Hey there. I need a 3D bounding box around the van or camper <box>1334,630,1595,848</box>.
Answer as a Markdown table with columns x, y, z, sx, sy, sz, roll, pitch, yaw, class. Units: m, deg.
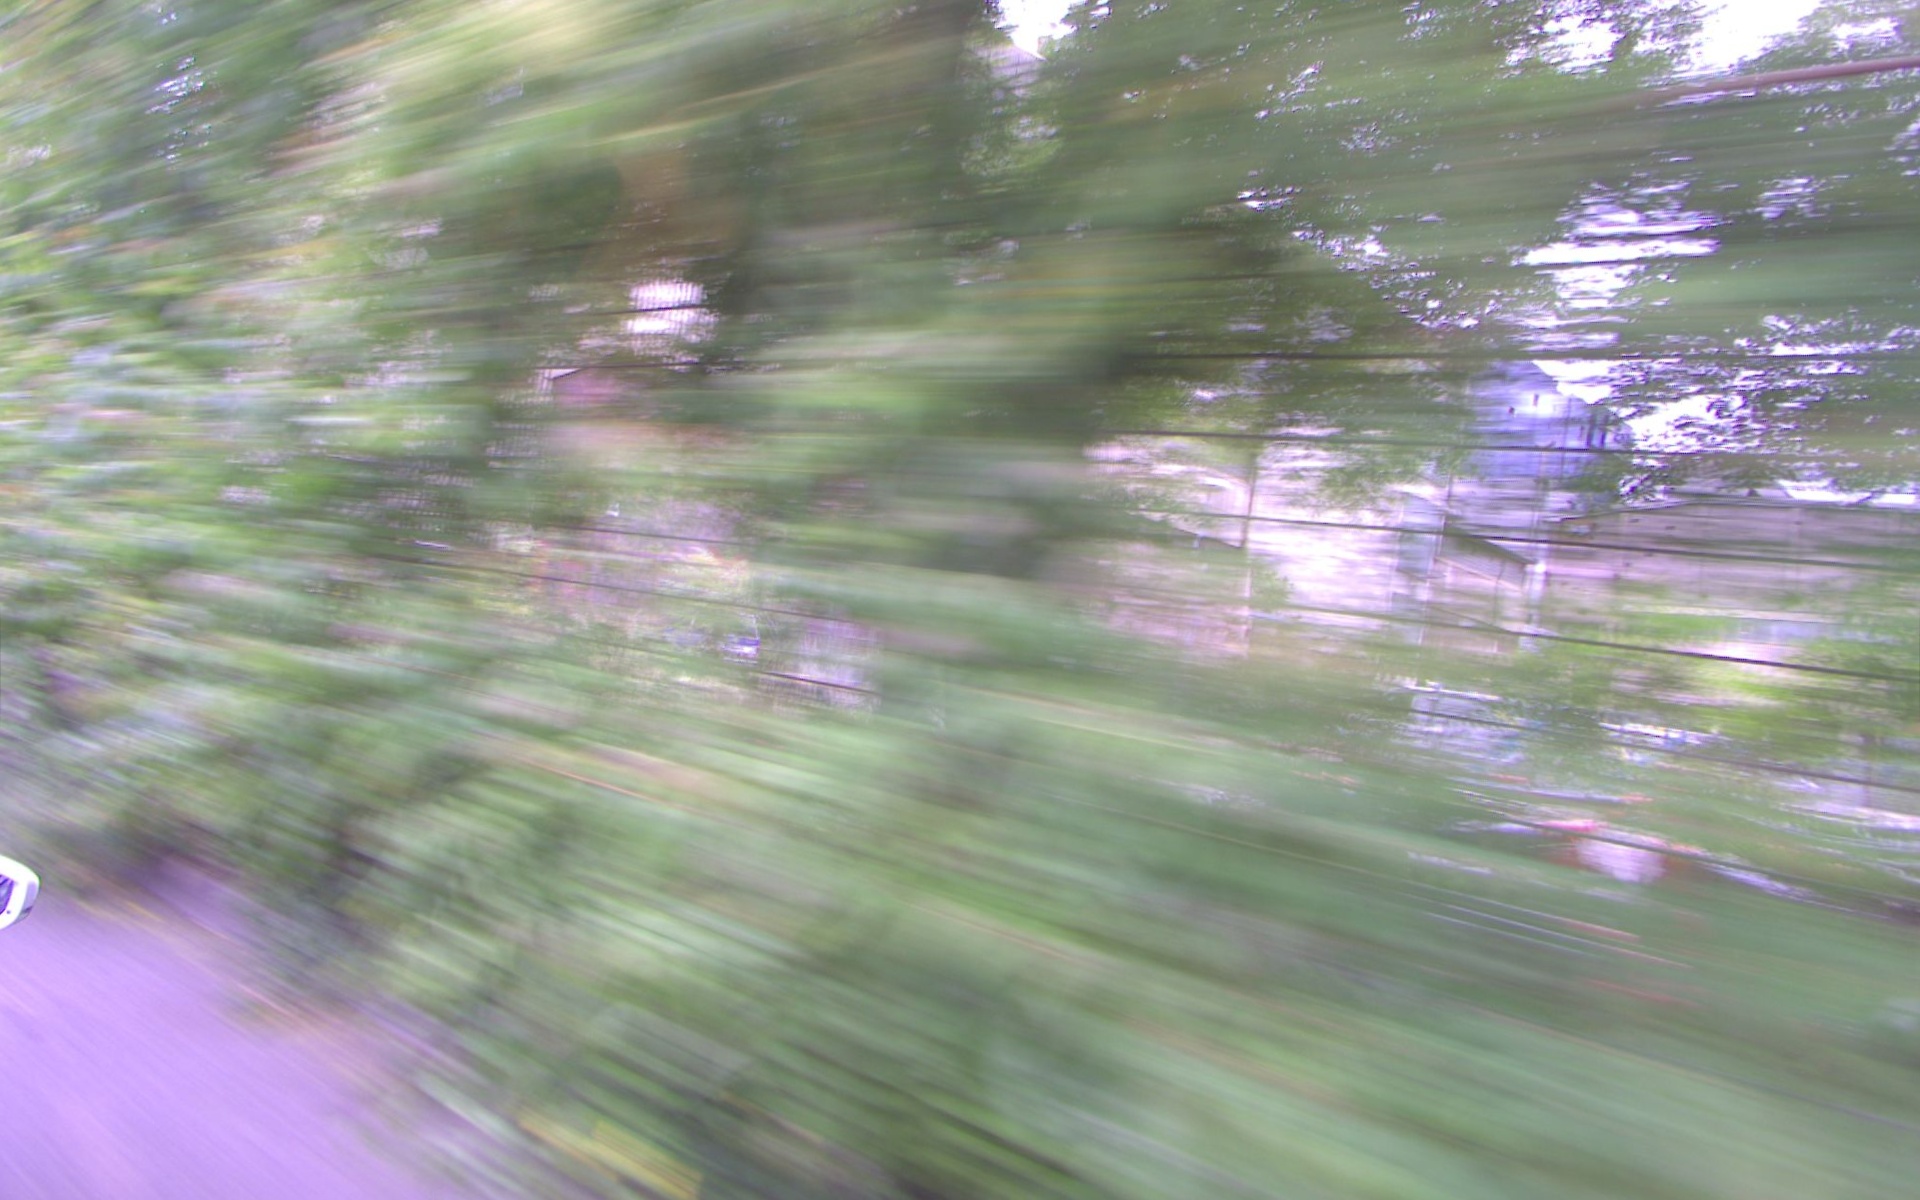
| x | y | z | sx | sy | sz | roll | pitch | yaw | class |
| --- | --- | --- | --- | --- | --- | --- | --- | --- | --- |
| 15.152 | 3.937 | 29.982 | 5.393 | 4.580 | 11.840 | 5 | -4 | 30 | van or camper |
